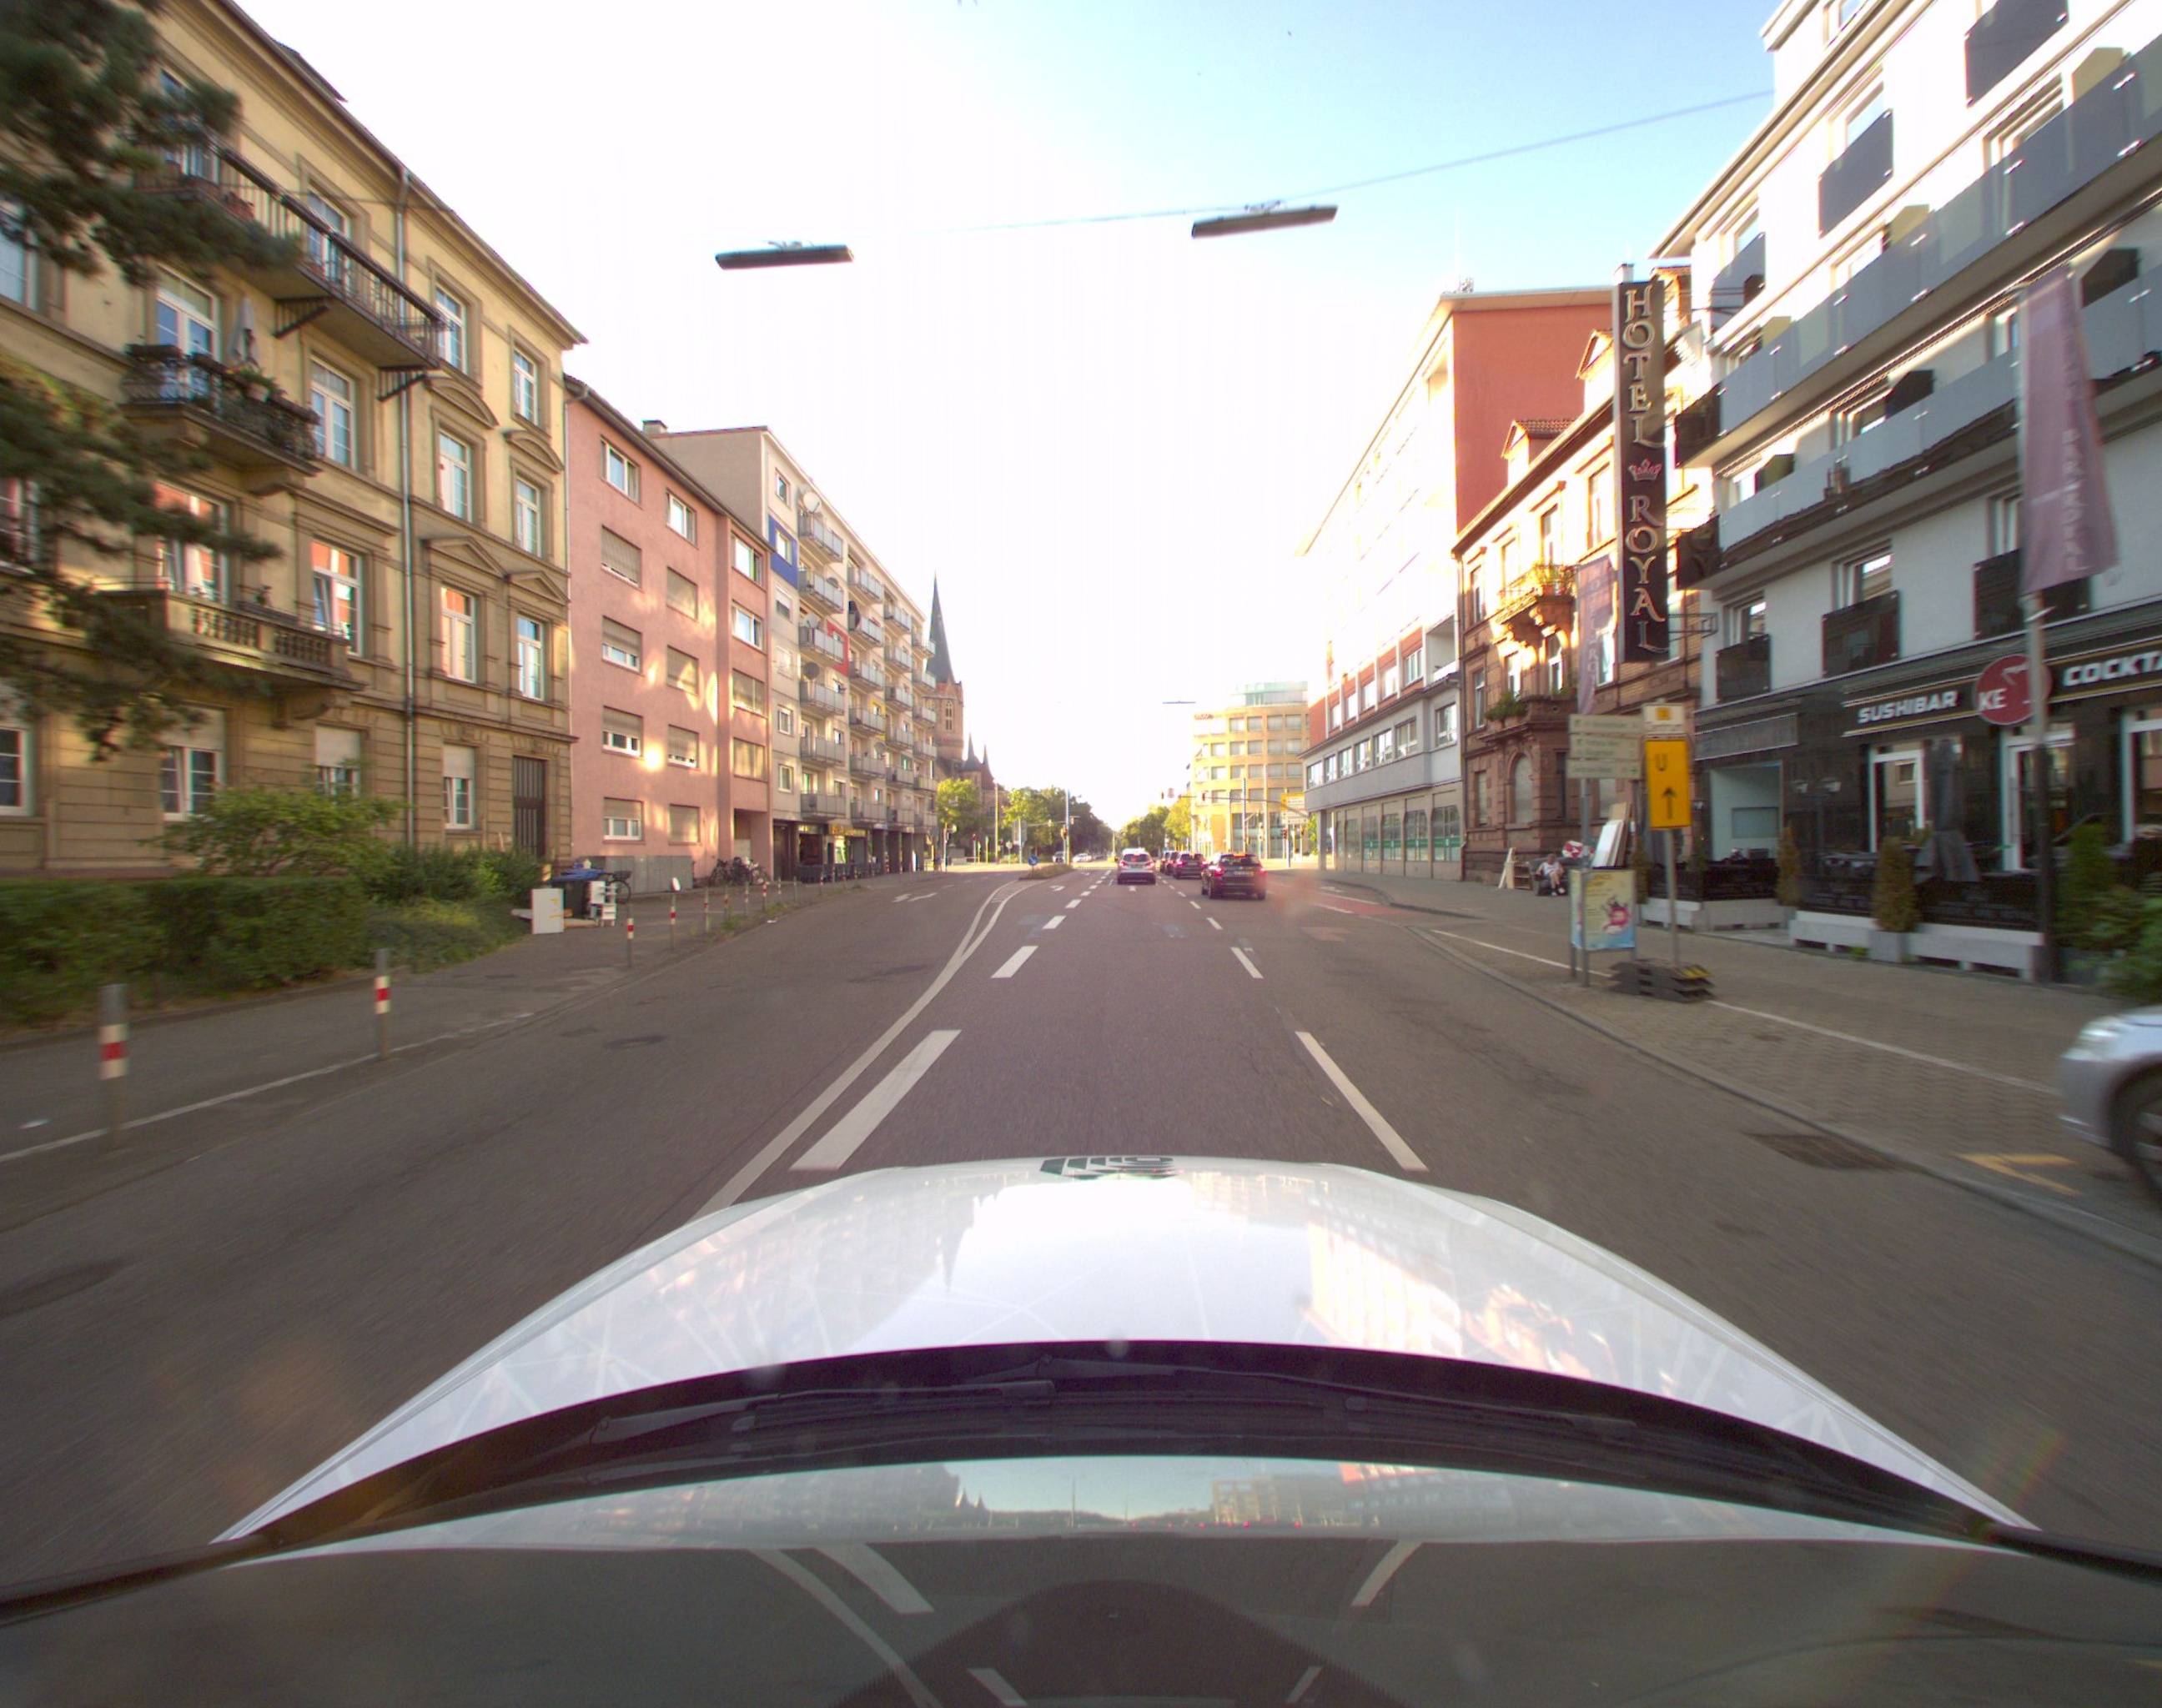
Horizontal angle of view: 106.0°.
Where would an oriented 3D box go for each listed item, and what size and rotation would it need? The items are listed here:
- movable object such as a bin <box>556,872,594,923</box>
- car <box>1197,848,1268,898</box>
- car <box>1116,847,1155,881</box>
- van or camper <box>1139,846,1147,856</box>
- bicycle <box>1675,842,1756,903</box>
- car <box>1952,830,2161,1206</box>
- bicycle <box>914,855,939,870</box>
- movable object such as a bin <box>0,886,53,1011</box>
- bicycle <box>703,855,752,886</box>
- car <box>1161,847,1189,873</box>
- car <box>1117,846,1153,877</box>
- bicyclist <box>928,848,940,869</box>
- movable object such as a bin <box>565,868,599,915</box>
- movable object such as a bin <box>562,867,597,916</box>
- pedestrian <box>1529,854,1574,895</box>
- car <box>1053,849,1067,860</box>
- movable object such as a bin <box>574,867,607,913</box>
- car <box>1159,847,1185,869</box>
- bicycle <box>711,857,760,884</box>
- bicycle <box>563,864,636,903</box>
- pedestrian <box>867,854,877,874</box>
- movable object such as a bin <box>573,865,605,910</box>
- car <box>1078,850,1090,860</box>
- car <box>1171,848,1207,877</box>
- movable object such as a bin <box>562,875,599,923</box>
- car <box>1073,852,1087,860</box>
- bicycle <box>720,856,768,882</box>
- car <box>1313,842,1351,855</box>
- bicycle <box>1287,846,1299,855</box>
[{"bbox_3d":[-11.088,0.945,17.865,0.643,1.083,0.578,1,-1,-28],"label":"movable object such as a bin"},{"bbox_3d":[4.802,0.543,26.250,1.700,1.457,4.162,-1,0,3],"label":"car"},{"bbox_3d":[2.549,0.434,38.411,1.700,1.510,4.313,0,1,3],"label":"car"},{"bbox_3d":[15.374,-0.756,202.245,1.984,2.640,5.357,-1,0,5],"label":"van or camper"},{"bbox_3d":[12.731,0.367,16.340,1.424,1.110,0.486,-4,1,-15],"label":"bicycle"},{"bbox_3d":[5.180,0.658,1.664,1.847,1.512,4.841,-2,0,4],"label":"car"},{"bbox_3d":[-12.224,0.662,64.601,1.820,1.188,0.734,-1,0,1],"label":"bicycle"},{"bbox_3d":[-9.759,0.816,6.987,0.864,1.050,0.769,2,0,1],"label":"movable object such as a bin"},{"bbox_3d":[-13.498,0.614,31.122,1.677,1.160,0.492,0,0,-23],"label":"bicycle"},{"bbox_3d":[5.812,0.335,50.642,1.483,1.505,3.481,-1,0,2],"label":"car"},{"bbox_3d":[2.891,0.353,44.192,1.797,1.568,3.620,-1,0,2],"label":"car"},{"bbox_3d":[-11.788,0.385,65.359,0.779,1.660,0.901,-1,0,3],"label":"bicyclist"},{"bbox_3d":[-12.032,0.903,19.657,0.643,1.111,0.578,1,-1,-28],"label":"movable object such as a bin"},{"bbox_3d":[-11.740,0.879,19.083,0.643,1.111,0.578,1,-1,-28],"label":"movable object such as a bin"},{"bbox_3d":[12.391,0.522,21.468,0.687,1.043,0.946,-1,0,6],"label":"pedestrian"},{"bbox_3d":[-3.151,0.083,123.794,1.772,1.647,4.004,-1,0,4],"label":"car"},{"bbox_3d":[-12.207,0.882,20.300,0.643,1.111,0.578,1,-1,-28],"label":"movable object such as a bin"},{"bbox_3d":[6.277,0.272,56.265,1.578,1.446,3.650,0,0,3],"label":"car"},{"bbox_3d":[-13.553,0.638,31.931,1.666,1.041,0.549,0,0,-5],"label":"bicycle"},{"bbox_3d":[-13.891,0.851,23.514,1.642,0.967,0.662,4,0,1],"label":"bicycle"},{"bbox_3d":[-14.102,0.665,54.973,0.479,1.384,0.484,-1,0,23],"label":"pedestrian"},{"bbox_3d":[-12.557,0.853,20.791,0.643,1.111,0.578,1,-1,-28],"label":"movable object such as a bin"},{"bbox_3d":[0.486,0.108,129.667,1.772,1.464,4.004,-1,0,4],"label":"car"},{"bbox_3d":[5.903,0.443,44.729,1.643,1.484,4.243,0,0,3],"label":"car"},{"bbox_3d":[-11.344,1.011,18.477,0.643,1.068,0.622,1,-1,-28],"label":"movable object such as a bin"},{"bbox_3d":[-0.163,0.282,123.110,1.772,1.236,4.004,-1,1,4],"label":"car"},{"bbox_3d":[-13.548,0.610,32.761,1.671,1.041,0.547,0,0,-12],"label":"bicycle"},{"bbox_3d":[32.014,-0.709,104.007,4.209,1.614,2.003,-1,0,4],"label":"car"},{"bbox_3d":[28.613,-0.444,109.849,1.510,1.172,0.476,-1,0,9],"label":"bicycle"}]
